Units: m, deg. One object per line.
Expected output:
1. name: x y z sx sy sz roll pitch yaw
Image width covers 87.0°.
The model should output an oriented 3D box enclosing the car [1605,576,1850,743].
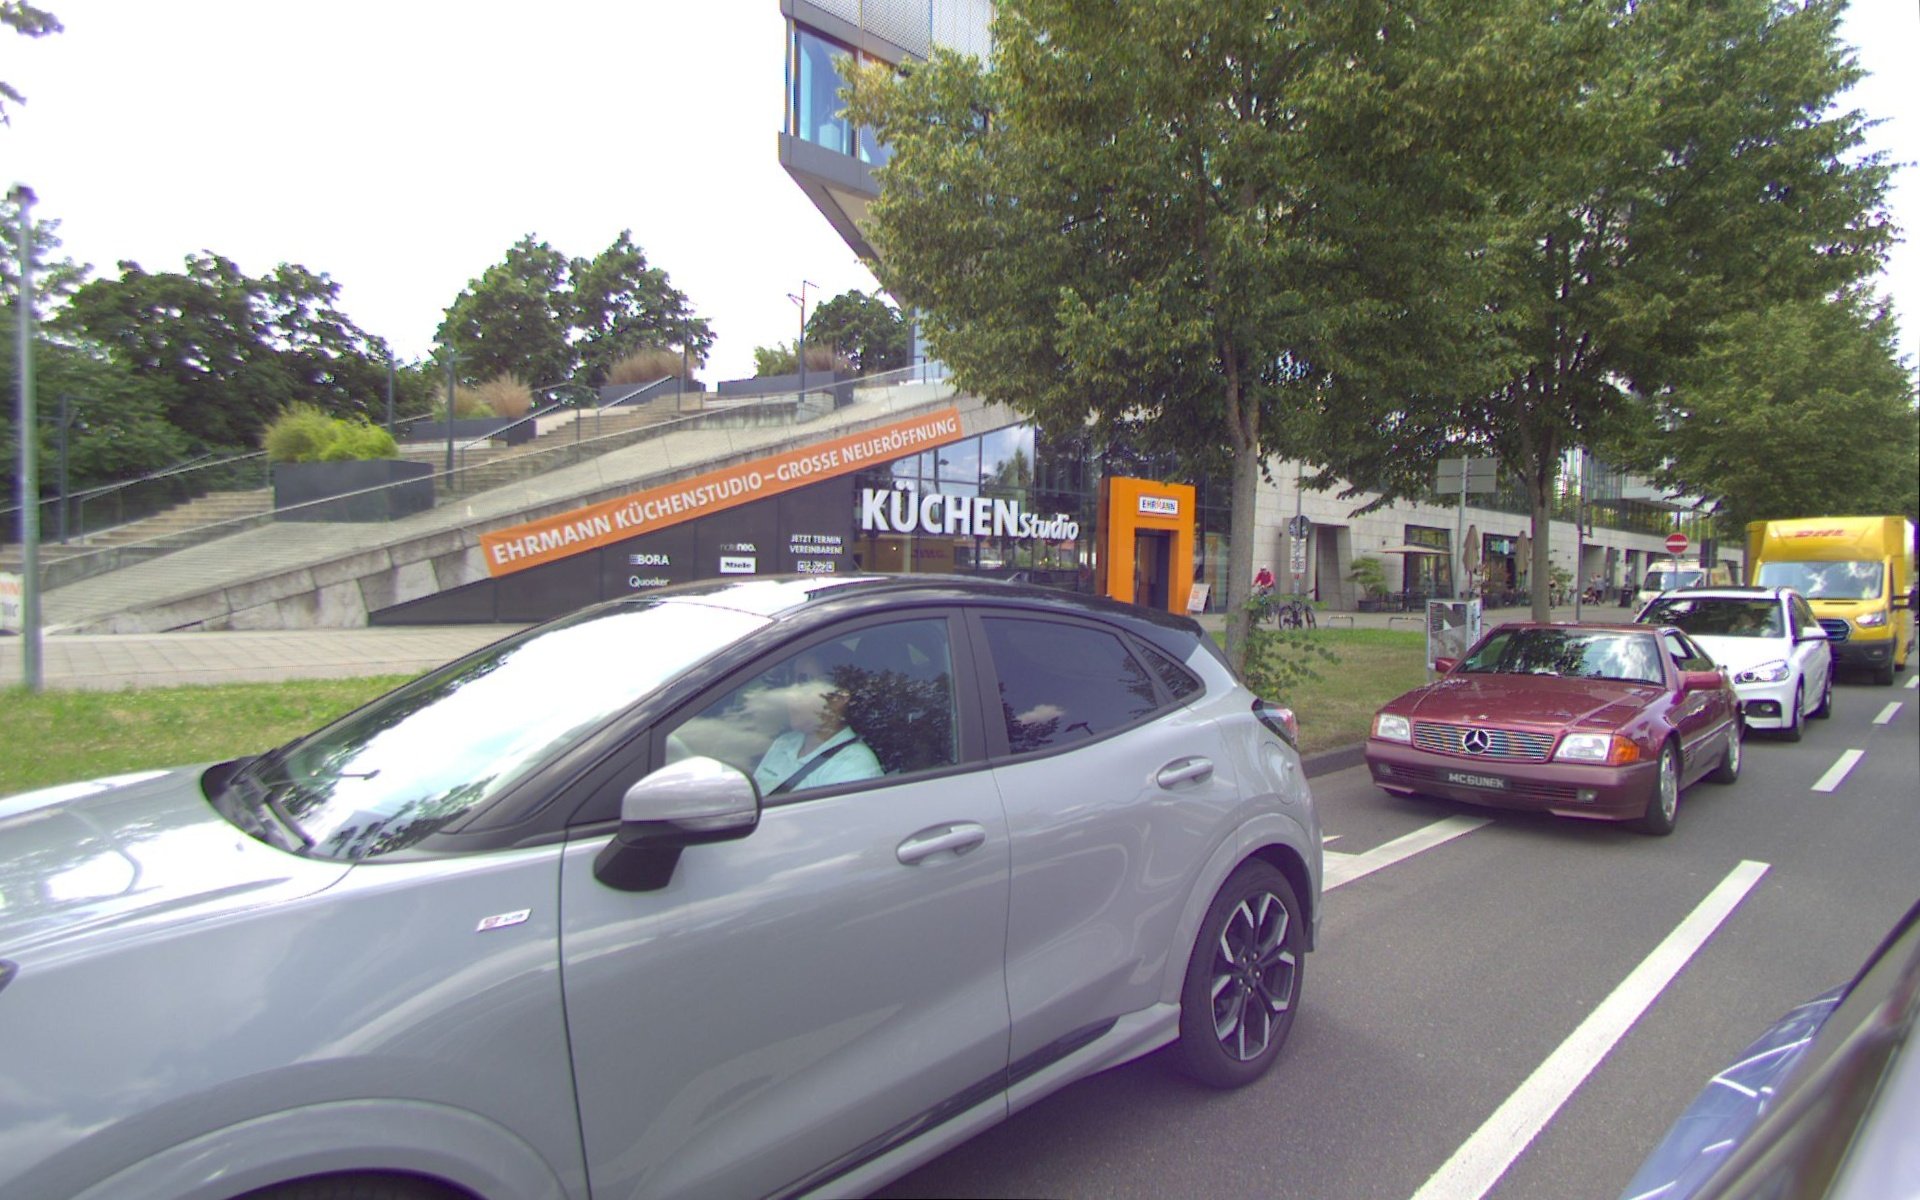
1. car: 9.069 0.565 11.835 4.059 1.619 1.671 0 0 -44

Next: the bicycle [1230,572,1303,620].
1. bicycle: 8.818 -0.126 29.063 2.370 1.259 0.812 -1 6 -43

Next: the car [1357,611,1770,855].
1. car: 4.715 0.763 7.638 4.024 1.277 1.671 0 1 -44

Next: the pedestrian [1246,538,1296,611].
1. pedestrian: 9.002 -0.747 29.271 1.210 2.037 0.754 0 4 -41

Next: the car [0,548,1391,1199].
1. car: -0.569 0.636 2.751 4.023 1.489 1.672 -1 3 -42

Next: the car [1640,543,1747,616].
1. car: 26.616 -0.722 36.620 6.176 2.424 2.157 -1 0 -45

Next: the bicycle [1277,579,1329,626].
1. bicycle: 8.388 0.049 24.684 0.515 1.102 1.722 3 2 42

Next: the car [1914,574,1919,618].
1. car: 40.729 -0.178 41.513 4.223 1.783 1.996 -1 0 -42

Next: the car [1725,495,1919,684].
1. car: 16.289 -0.213 18.782 7.136 2.889 2.280 -1 1 -44
